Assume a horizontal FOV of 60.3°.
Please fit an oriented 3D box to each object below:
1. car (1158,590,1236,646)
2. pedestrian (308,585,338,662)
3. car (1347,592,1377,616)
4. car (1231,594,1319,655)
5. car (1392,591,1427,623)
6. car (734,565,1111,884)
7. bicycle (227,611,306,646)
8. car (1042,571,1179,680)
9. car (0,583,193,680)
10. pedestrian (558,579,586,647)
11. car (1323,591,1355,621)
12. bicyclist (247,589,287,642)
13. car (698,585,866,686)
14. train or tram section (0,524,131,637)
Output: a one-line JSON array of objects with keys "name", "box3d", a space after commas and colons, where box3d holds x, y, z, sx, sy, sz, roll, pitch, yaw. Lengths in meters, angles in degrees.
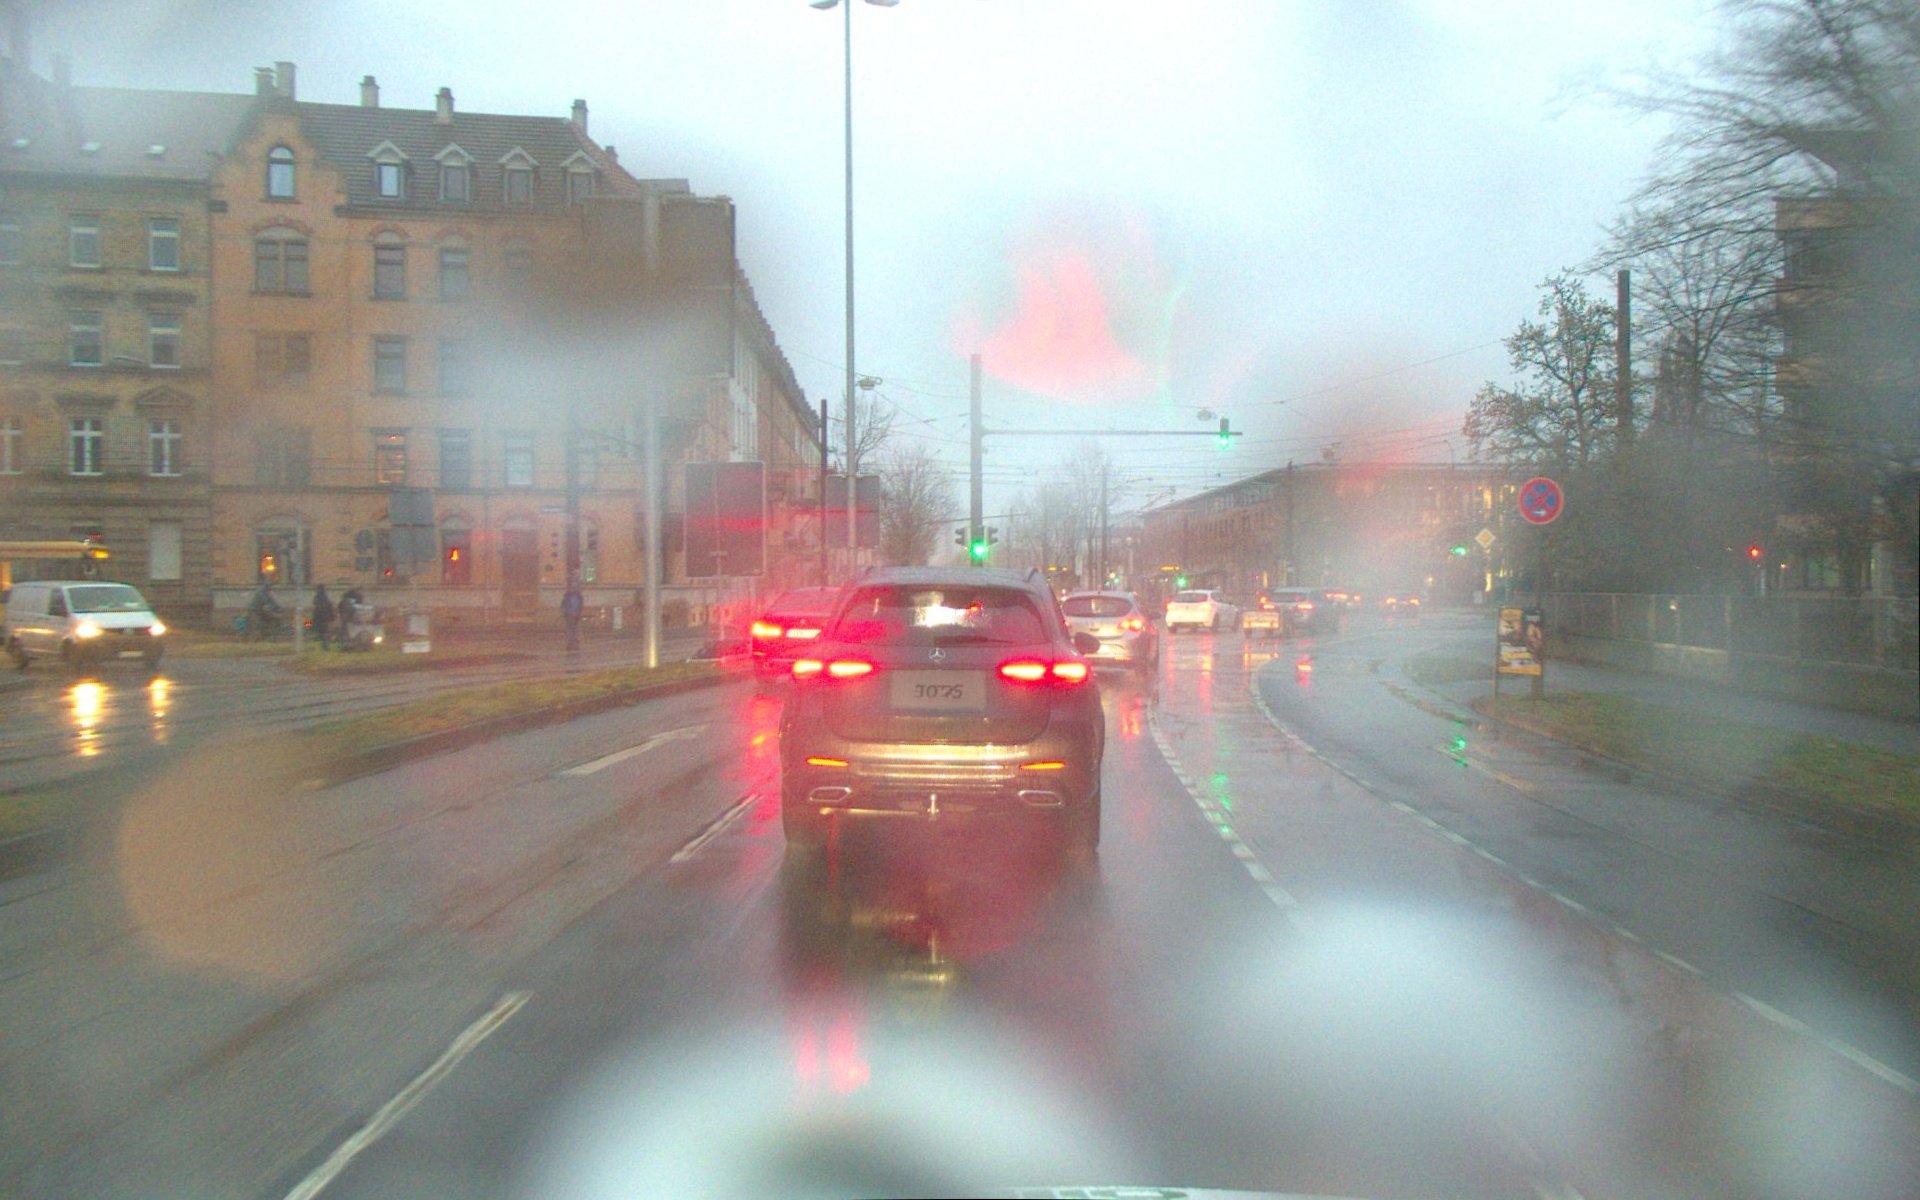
[{"name": "car", "box3d": [8.196, 0.598, 56.953, 1.952, 1.796, 4.002, -1, 1, 19]}, {"name": "pedestrian", "box3d": [-15.223, 0.563, 39.522, 0.615, 1.823, 0.530, 0, 1, -15]}, {"name": "car", "box3d": [25.803, 0.225, 106.145, 1.708, 1.484, 3.529, -1, 1, 11]}, {"name": "car", "box3d": [10.092, 0.745, 52.711, 1.953, 1.796, 3.999, 0, 1, 23]}, {"name": "car", "box3d": [24.280, 0.361, 89.400, 1.708, 1.640, 4.003, -1, 1, 14]}, {"name": "car", "box3d": [-0.240, 0.628, 10.653, 1.950, 1.644, 3.999, -1, 1, -1]}, {"name": "bicycle", "box3d": [-18.788, 0.766, 44.826, 1.958, 0.915, 0.501, 0, 1, -31]}, {"name": "car", "box3d": [2.757, 0.402, 29.524, 1.951, 1.796, 4.004, -1, 1, 12]}, {"name": "car", "box3d": [-19.432, 0.731, 37.055, 4.758, 1.980, 1.993, -2, 0, 37]}, {"name": "pedestrian", "box3d": [-10.329, 0.339, 44.069, 0.457, 1.803, 0.629, 0, 0, 19]}, {"name": "car", "box3d": [21.745, 0.342, 94.758, 1.708, 1.640, 4.003, -1, 1, 14]}, {"name": "bicyclist", "box3d": [-18.782, 0.425, 44.825, 0.956, 1.415, 0.501, 0, 1, -30]}, {"name": "car", "box3d": [-2.663, 0.491, 25.627, 1.952, 1.422, 4.002, -1, 1, 3]}, {"name": "train or tram section", "box3d": [-33.364, -0.672, 48.360, 15.967, 3.244, 3.160, 1, 0, -12]}]
